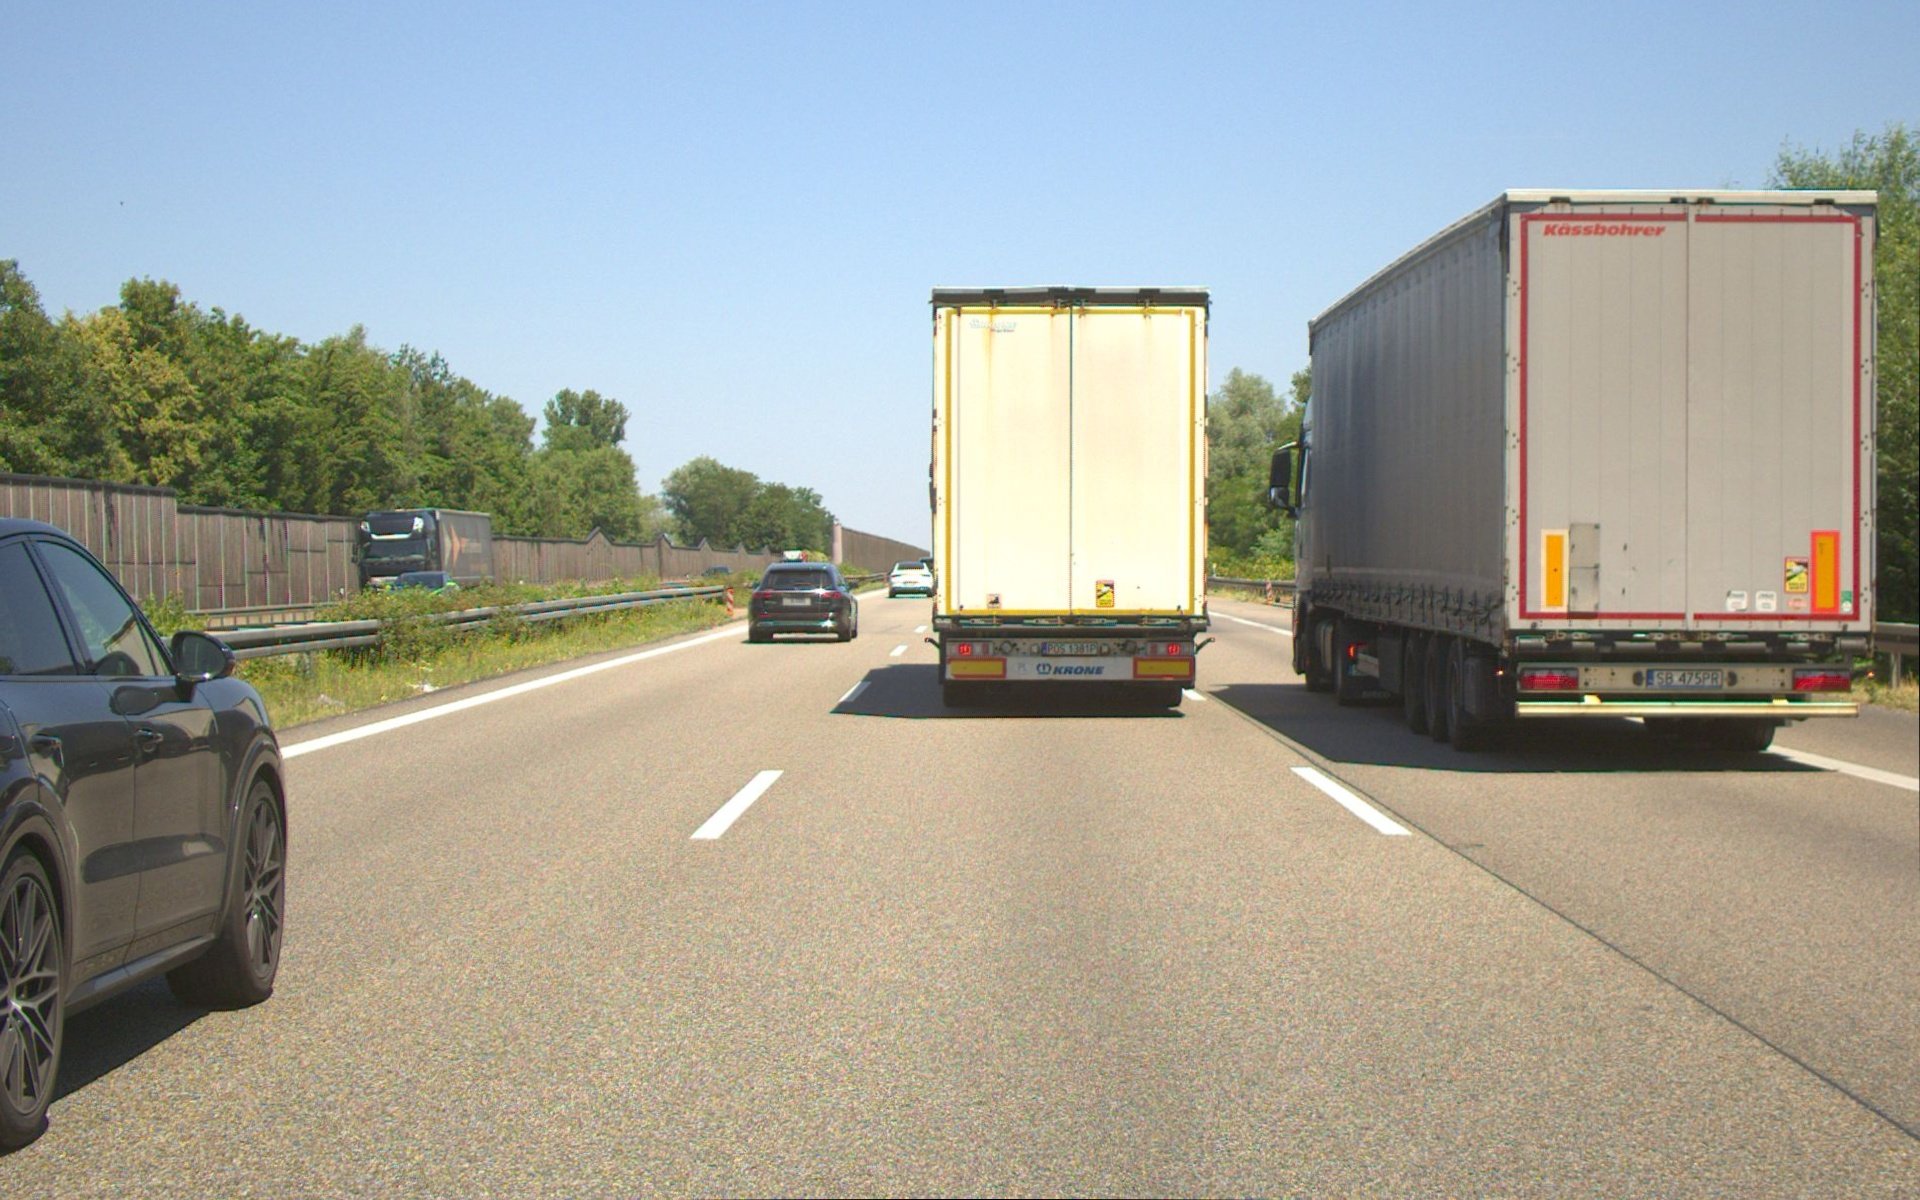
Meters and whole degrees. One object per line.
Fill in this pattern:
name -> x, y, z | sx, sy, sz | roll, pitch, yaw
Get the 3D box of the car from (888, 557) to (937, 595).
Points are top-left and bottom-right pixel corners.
car -> -1.946, -0.995, 142.271 | 1.855, 1.481, 4.000 | -3, 1, 1

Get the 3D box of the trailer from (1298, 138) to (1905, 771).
trailer -> 4.979, -1.062, 29.810 | 2.703, 4.201, 13.212 | -2, 1, 0

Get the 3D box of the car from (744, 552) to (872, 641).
car -> -2.822, -0.098, 64.965 | 1.943, 1.501, 5.821 | -2, 1, 2

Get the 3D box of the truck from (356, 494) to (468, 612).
truck -> -19.873, -1.698, 125.091 | 2.728, 4.072, 7.838 | -2, 1, 0

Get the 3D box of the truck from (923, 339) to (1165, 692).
truck -> 0.989, -1.038, 44.015 | 2.728, 4.072, 7.277 | -2, 1, 0

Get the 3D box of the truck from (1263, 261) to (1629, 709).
truck -> 4.981, -1.148, 36.714 | 2.691, 4.201, 7.838 | -2, 1, 0

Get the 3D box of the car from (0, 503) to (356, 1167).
car -> -3.359, 0.548, 10.304 | 2.043, 1.619, 5.772 | -1, 1, 0

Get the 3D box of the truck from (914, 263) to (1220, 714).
truck -> 0.990, -1.109, 38.323 | 2.707, 4.072, 13.474 | -2, 1, 0

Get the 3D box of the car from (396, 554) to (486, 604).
car -> -15.590, -0.643, 103.499 | 1.959, 1.428, 4.880 | -2, 1, 0

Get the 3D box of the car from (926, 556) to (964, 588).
car -> -0.814, -1.512, 182.889 | 1.855, 1.611, 4.000 | -3, 1, -2
